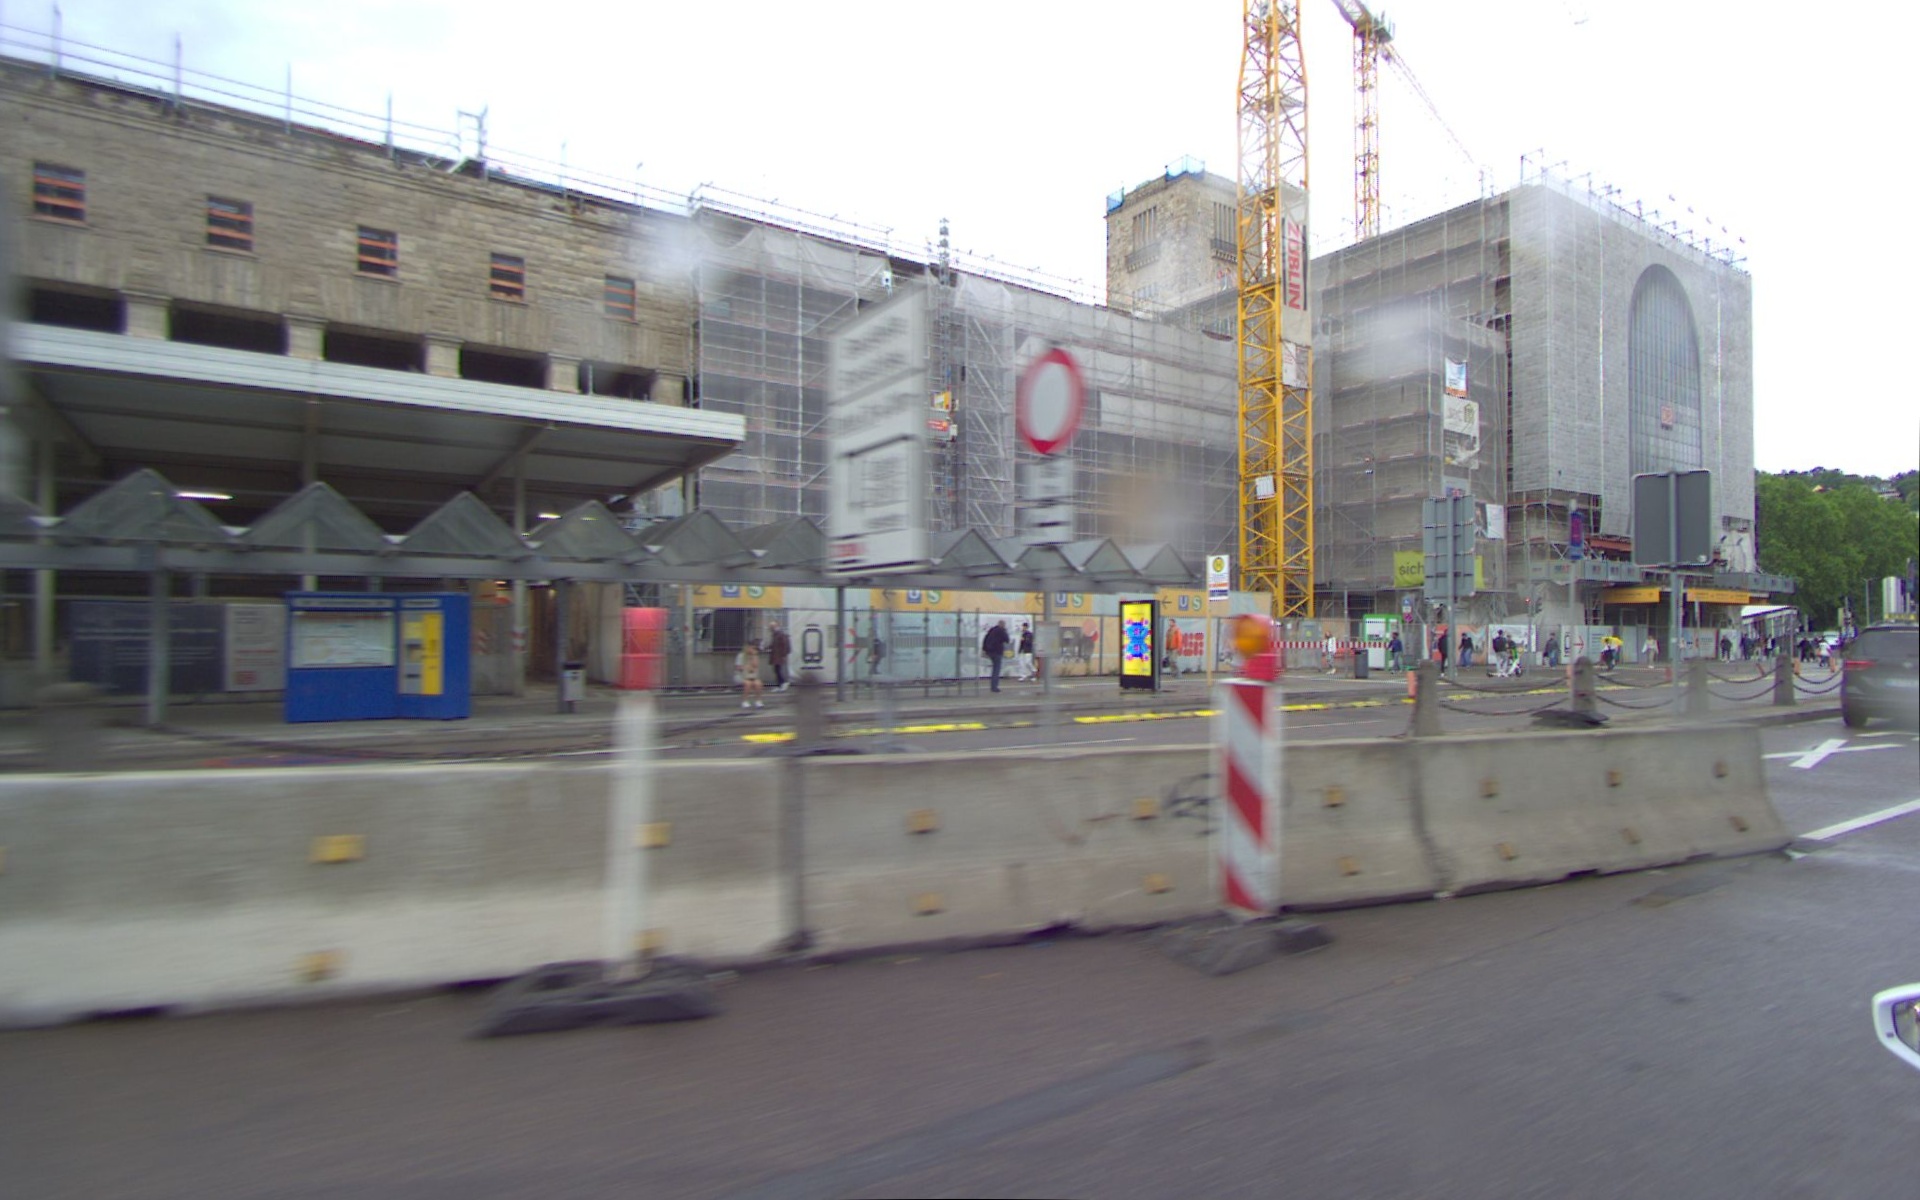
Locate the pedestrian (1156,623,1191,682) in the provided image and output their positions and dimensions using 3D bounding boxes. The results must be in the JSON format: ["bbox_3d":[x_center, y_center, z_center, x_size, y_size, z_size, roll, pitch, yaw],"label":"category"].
[{"bbox_3d":[7.357,1.792,34.599,0.856,1.965,0.737,2,1,-35],"label":"pedestrian"}]

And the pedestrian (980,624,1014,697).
[{"bbox_3d":[0.963,1.576,26.371,0.690,1.865,0.745,1,-1,-14],"label":"pedestrian"}]

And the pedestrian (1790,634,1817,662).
[{"bbox_3d":[56.179,3.204,66.896,1.023,1.865,0.984,1,-2,-14],"label":"pedestrian"}]

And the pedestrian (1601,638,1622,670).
[{"bbox_3d":[33.875,2.824,52.223,0.829,1.635,0.672,1,-1,-32],"label":"pedestrian"}]

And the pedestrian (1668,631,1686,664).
[{"bbox_3d":[41.164,2.740,57.652,0.762,1.865,0.830,0,-1,42],"label":"pedestrian"}]

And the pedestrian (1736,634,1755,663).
[{"bbox_3d":[51.037,3.126,65.229,0.764,1.865,0.774,1,-2,-35],"label":"pedestrian"}]

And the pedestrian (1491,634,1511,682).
[{"bbox_3d":[21.643,2.315,40.172,0.699,1.865,0.503,2,-1,-40],"label":"pedestrian"}]

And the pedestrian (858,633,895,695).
[{"bbox_3d":[-2.269,1.712,27.229,0.695,1.629,0.797,1,-1,-35],"label":"pedestrian"}]

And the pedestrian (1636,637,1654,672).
[{"bbox_3d":[34.546,2.730,50.668,0.674,1.708,0.834,0,-1,42],"label":"pedestrian"}]

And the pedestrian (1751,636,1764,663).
[{"bbox_3d":[54.920,3.406,69.140,0.667,1.865,0.716,0,-1,42],"label":"pedestrian"}]

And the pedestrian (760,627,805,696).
[{"bbox_3d":[-4.542,1.552,25.659,0.828,1.722,0.872,1,-1,-35],"label":"pedestrian"}]

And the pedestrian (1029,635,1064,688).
[{"bbox_3d":[2.647,1.858,30.710,0.696,1.568,0.796,2,-1,-39],"label":"pedestrian"}]

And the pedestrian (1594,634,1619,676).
[{"bbox_3d":[29.564,2.513,45.938,0.865,1.865,0.834,0,-1,42],"label":"pedestrian"}]

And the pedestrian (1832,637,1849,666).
[{"bbox_3d":[57.842,3.366,65.981,0.523,1.865,0.692,2,-2,-36],"label":"pedestrian"}]

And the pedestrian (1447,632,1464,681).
[{"bbox_3d":[19.131,2.179,38.779,0.501,1.865,0.338,1,-1,-19],"label":"pedestrian"}]

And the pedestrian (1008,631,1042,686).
[{"bbox_3d":[2.028,1.812,31.400,0.696,1.692,0.796,2,-1,-39],"label":"pedestrian"}]

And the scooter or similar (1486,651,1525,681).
[{"bbox_3d":[20.673,2.497,38.063,1.215,1.080,0.460,1,-1,0],"label":"scooter or similar"}]

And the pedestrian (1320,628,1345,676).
[{"bbox_3d":[14.659,2.053,39.523,0.605,1.865,0.718,1,-1,-31],"label":"pedestrian"}]

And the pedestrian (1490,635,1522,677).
[{"bbox_3d":[24.454,2.503,44.988,1.046,1.865,0.835,1,-1,-31],"label":"pedestrian"}]

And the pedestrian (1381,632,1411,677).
[{"bbox_3d":[18.204,2.273,41.954,0.858,1.865,0.799,1,-1,-31],"label":"pedestrian"}]

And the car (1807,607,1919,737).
[{"bbox_3d":[15.735,1.119,16.148,4.781,1.886,1.982,2,-2,-34],"label":"car"}]

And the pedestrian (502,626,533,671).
[{"bbox_3d":[-15.929,1.751,36.161,0.824,1.604,0.892,2,-2,-36],"label":"pedestrian"}]

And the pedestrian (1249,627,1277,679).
[{"bbox_3d":[11.174,1.952,37.027,0.649,1.865,0.738,1,-1,-31],"label":"pedestrian"}]

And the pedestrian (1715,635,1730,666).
[{"bbox_3d":[46.392,3.073,61.122,0.764,1.865,0.532,1,-1,-37],"label":"pedestrian"}]

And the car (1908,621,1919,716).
[{"bbox_3d":[19.977,1.298,19.136,4.787,1.728,1.980,2,-2,-36],"label":"car"}]

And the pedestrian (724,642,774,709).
[{"bbox_3d":[-4.358,1.545,20.751,0.797,1.343,0.695,2,-1,-36],"label":"pedestrian"}]

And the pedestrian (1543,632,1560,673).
[{"bbox_3d":[27.628,2.451,46.926,0.564,1.865,0.701,0,-1,42],"label":"pedestrian"}]

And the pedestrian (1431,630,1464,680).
[{"bbox_3d":[18.536,2.088,38.198,0.861,1.865,0.704,1,-1,-6],"label":"pedestrian"}]

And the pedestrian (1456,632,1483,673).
[{"bbox_3d":[23.702,2.420,46.767,0.841,1.865,0.799,1,-1,-31],"label":"pedestrian"}]
